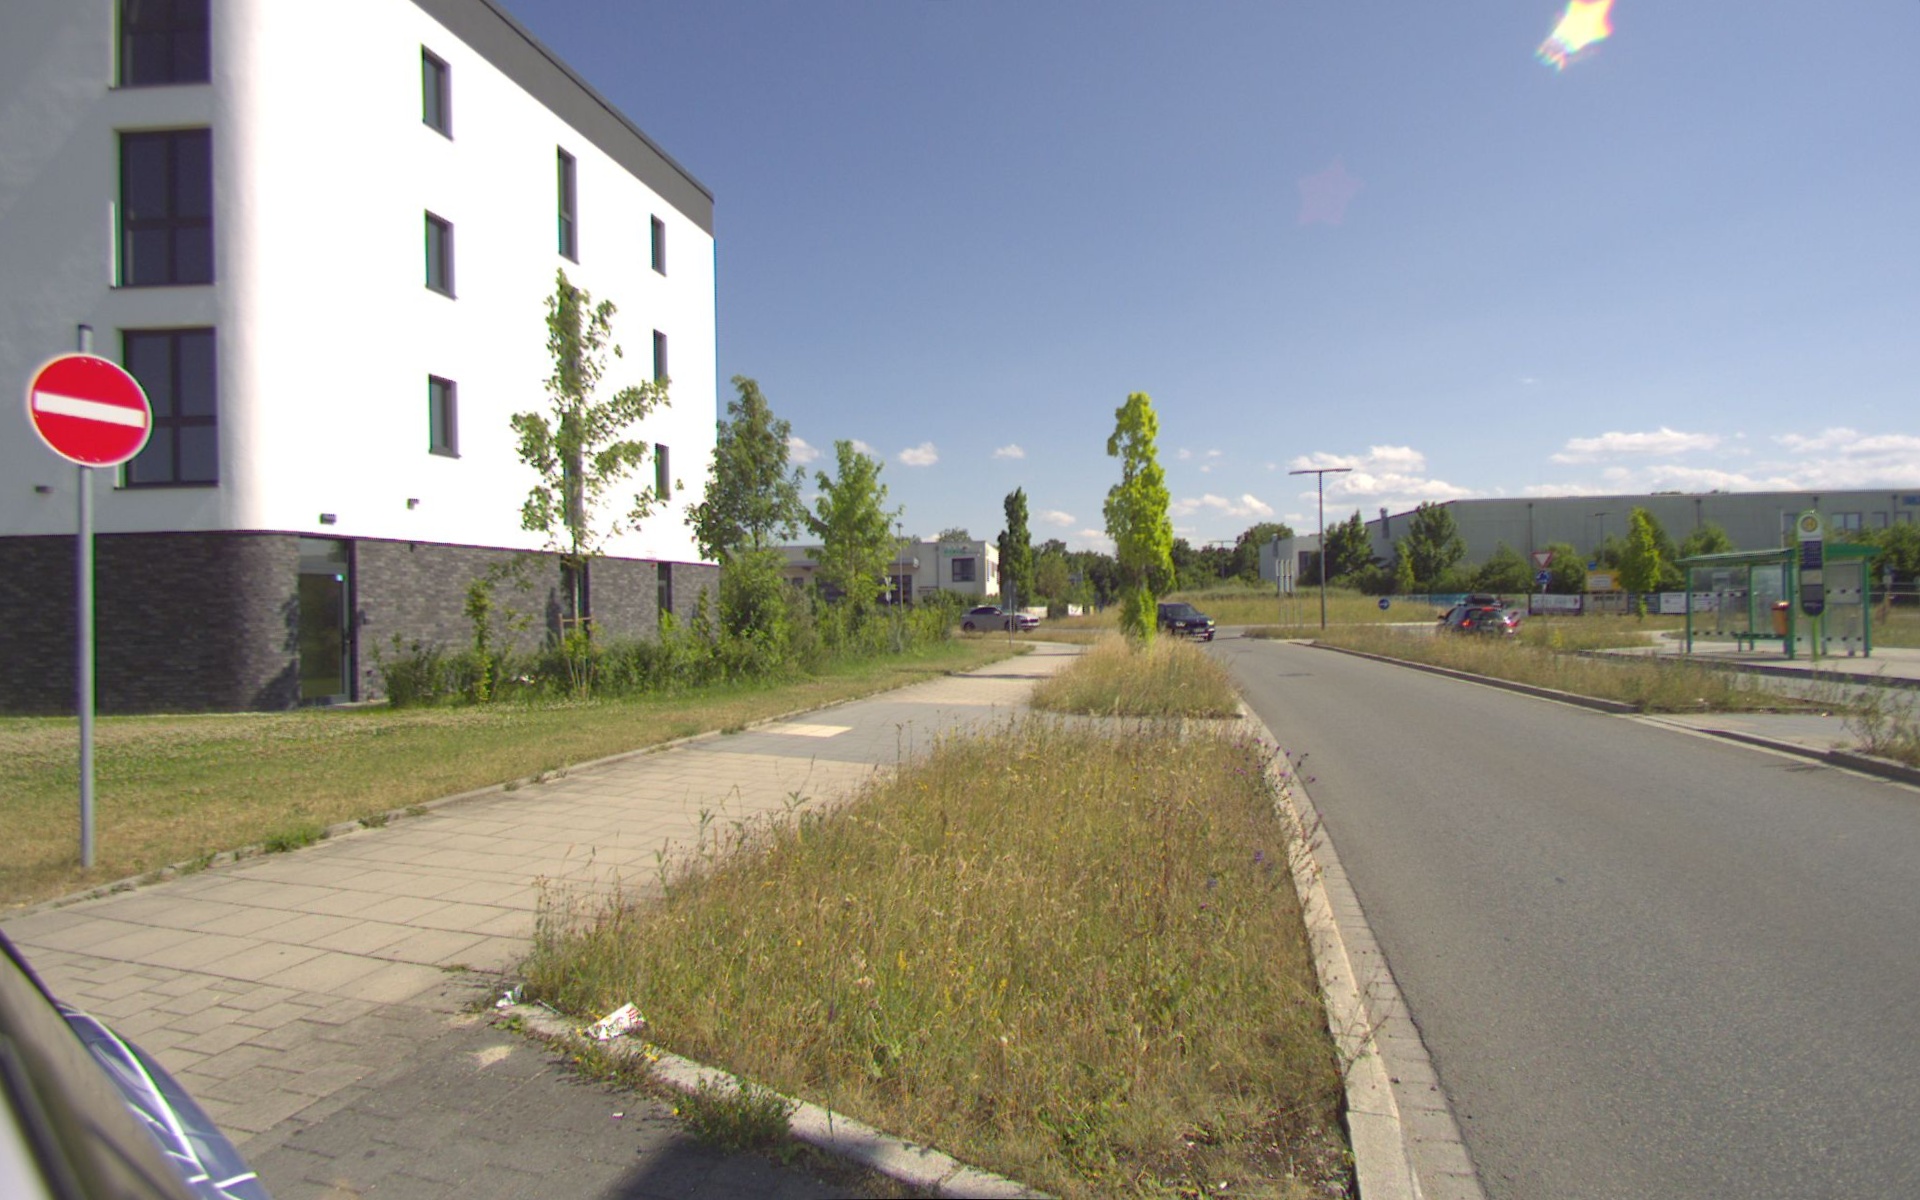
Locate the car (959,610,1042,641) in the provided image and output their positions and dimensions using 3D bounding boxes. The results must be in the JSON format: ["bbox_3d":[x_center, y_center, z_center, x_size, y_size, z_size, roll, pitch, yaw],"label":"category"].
[{"bbox_3d":[2.271,1.443,57.274,4.385,1.586,1.822,-2,1,34],"label":"car"}]

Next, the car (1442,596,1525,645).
[{"bbox_3d":[17.709,0.651,34.423,1.985,1.528,4.168,-1,0,20],"label":"car"}]

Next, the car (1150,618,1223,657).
[{"bbox_3d":[9.842,1.616,44.312,1.814,1.586,4.006,-2,-1,-7],"label":"car"}]
